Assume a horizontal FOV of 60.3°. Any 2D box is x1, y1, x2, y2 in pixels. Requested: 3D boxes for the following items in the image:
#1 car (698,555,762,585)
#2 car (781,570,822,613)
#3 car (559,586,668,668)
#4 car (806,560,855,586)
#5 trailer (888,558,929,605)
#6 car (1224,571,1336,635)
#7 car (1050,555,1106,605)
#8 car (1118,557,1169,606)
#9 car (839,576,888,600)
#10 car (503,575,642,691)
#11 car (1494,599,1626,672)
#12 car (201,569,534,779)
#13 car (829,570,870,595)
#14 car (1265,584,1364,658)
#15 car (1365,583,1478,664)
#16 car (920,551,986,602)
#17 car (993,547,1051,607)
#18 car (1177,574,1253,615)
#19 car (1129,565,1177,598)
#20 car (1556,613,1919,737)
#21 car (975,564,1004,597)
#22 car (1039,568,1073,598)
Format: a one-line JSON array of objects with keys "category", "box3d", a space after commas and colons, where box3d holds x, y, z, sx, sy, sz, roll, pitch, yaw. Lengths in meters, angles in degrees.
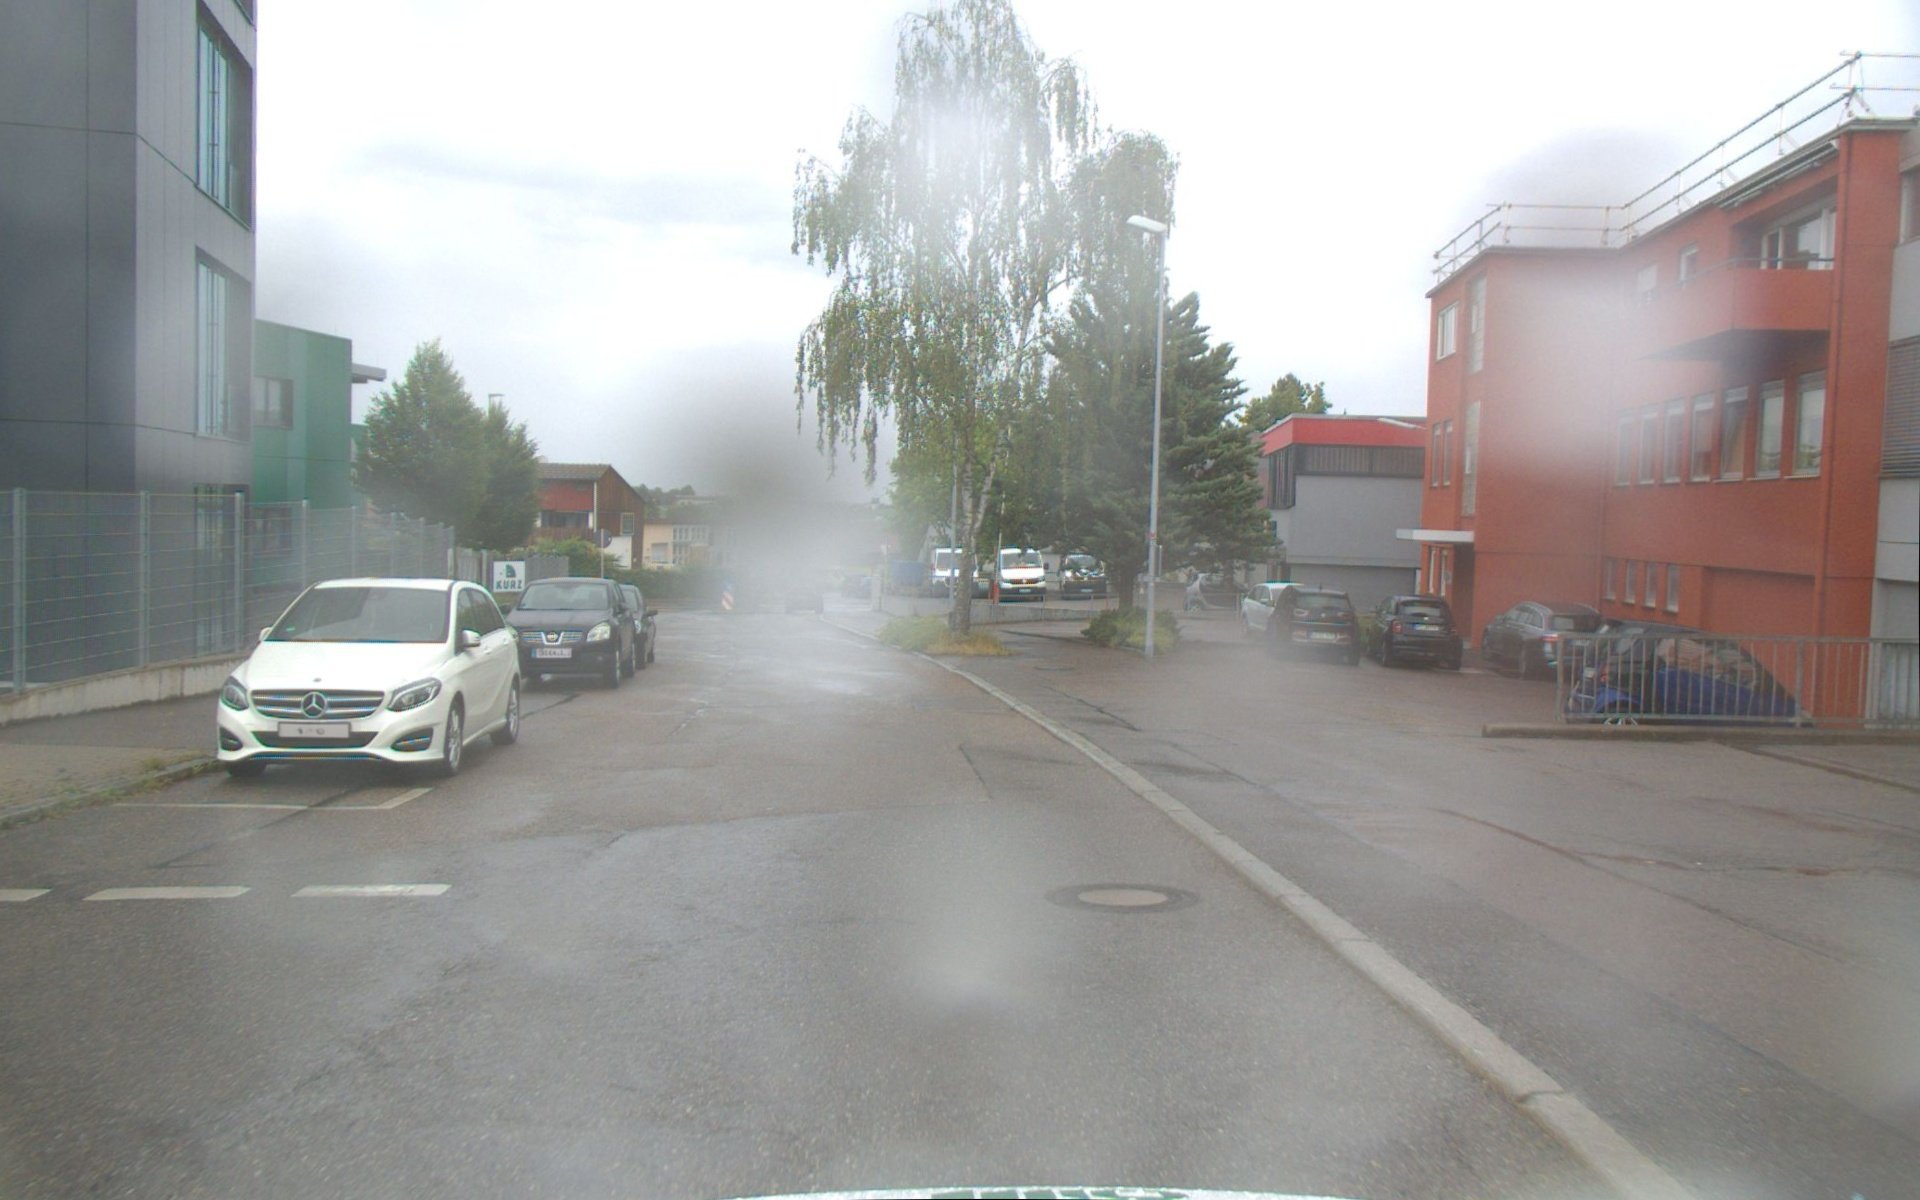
[{"category": "car", "box3d": [-15.451, -2.022, 111.185, 3.902, 1.914, 2.001, 2, 0, 6]}, {"category": "car", "box3d": [-7.958, -0.385, 83.360, 1.832, 2.064, 3.997, 1, -1, -3]}, {"category": "car", "box3d": [-6.450, 0.492, 31.125, 1.601, 1.418, 3.994, 1, -1, -6]}, {"category": "car", "box3d": [-11.952, -2.474, 152.710, 4.150, 2.265, 2.002, 1, -1, 12]}, {"category": "trailer", "box3d": [-2.377, -0.859, 76.032, 1.815, 2.049, 3.999, 1, 0, -2]}, {"category": "car", "box3d": [8.413, 0.099, 43.828, 2.023, 1.579, 3.998, 1, -1, -2]}, {"category": "car", "box3d": [5.150, -0.854, 72.690, 2.102, 2.049, 3.938, 1, -1, -1]}, {"category": "car", "box3d": [8.059, -0.790, 72.848, 1.745, 2.049, 3.632, 1, -1, -1]}, {"category": "car", "box3d": [-6.884, -0.831, 118.085, 2.425, 1.566, 3.975, 1, -1, -21]}, {"category": "car", "box3d": [-5.908, 0.439, 25.599, 1.668, 1.637, 3.994, 0, 1, -7]}, {"category": "car", "box3d": [12.830, 0.741, 35.567, 1.692, 1.446, 4.002, 1, -1, 5]}, {"category": "car", "box3d": [-4.912, 0.568, 14.320, 1.736, 1.539, 4.140, 1, -1, -6]}, {"category": "car", "box3d": [-8.286, -1.290, 123.809, 1.965, 1.734, 3.975, 1, -1, -21]}, {"category": "car", "box3d": [7.733, 0.468, 36.372, 1.661, 1.501, 4.002, 1, -1, 5]}, {"category": "car", "box3d": [10.203, 0.520, 36.817, 1.702, 1.682, 4.002, 1, -1, 5]}, {"category": "car", "box3d": [-0.322, -0.980, 71.813, 2.223, 2.049, 3.991, 1, -1, -10]}, {"category": "car", "box3d": [2.652, -0.967, 71.973, 2.149, 2.502, 3.998, 1, -1, -3]}, {"category": "car", "box3d": [9.007, -0.190, 58.482, 2.495, 1.375, 1.242, 1, 0, 0]}, {"category": "car", "box3d": [9.146, -0.873, 78.604, 1.604, 1.479, 3.508, 1, -1, -4]}, {"category": "car", "box3d": [8.569, 0.793, 18.368, 3.328, 1.183, 1.793, 2, 0, 7]}, {"category": "car", "box3d": [1.365, -0.891, 77.717, 1.264, 1.449, 2.545, 1, -1, -1]}, {"category": "car", "box3d": [4.529, -0.784, 78.425, 1.370, 1.349, 2.700, 1, -1, -1]}]
